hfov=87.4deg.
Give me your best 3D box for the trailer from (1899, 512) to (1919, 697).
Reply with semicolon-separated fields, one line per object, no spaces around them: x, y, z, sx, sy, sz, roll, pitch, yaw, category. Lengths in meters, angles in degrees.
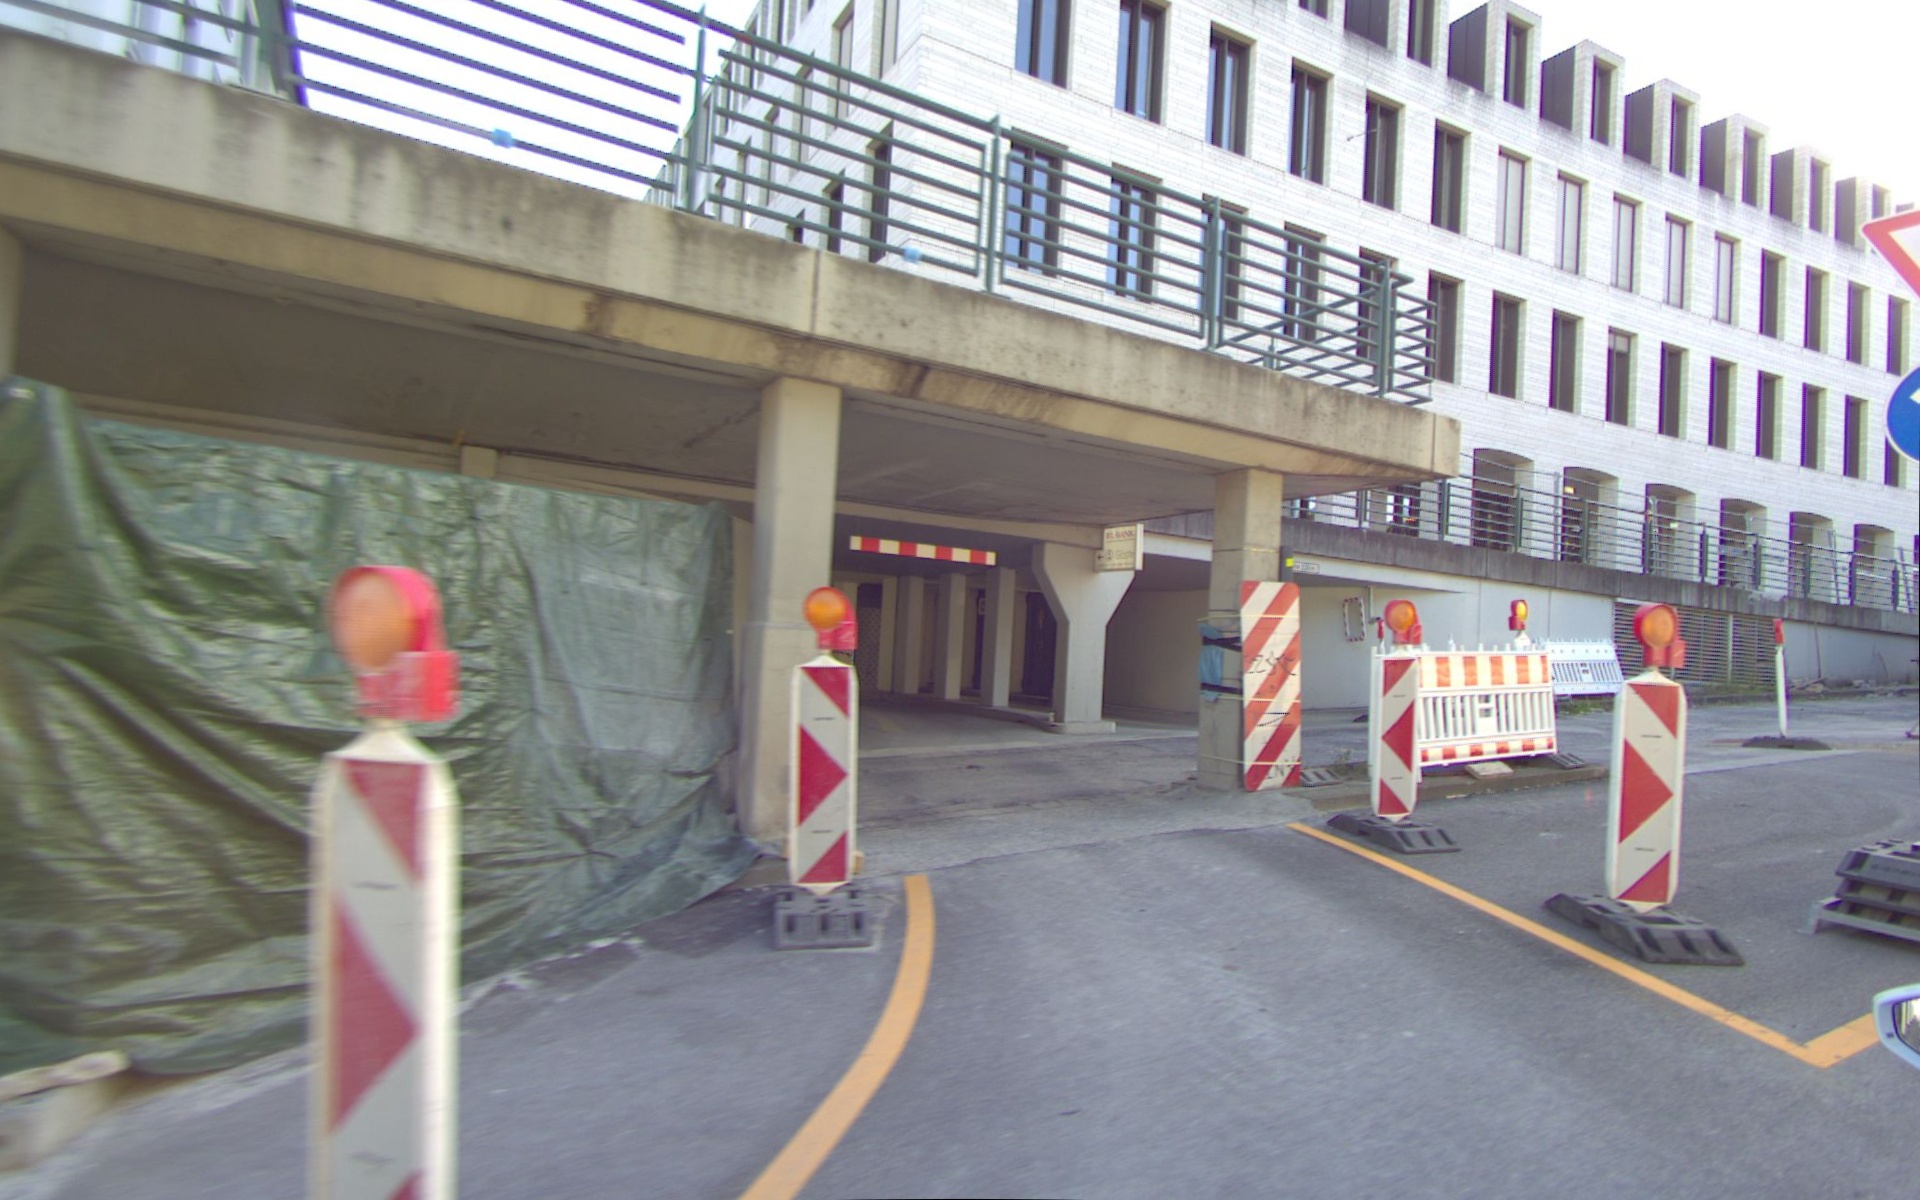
23.668;0.095;21.047;8.630;3.716;2.636;1;-5;-25;trailer
